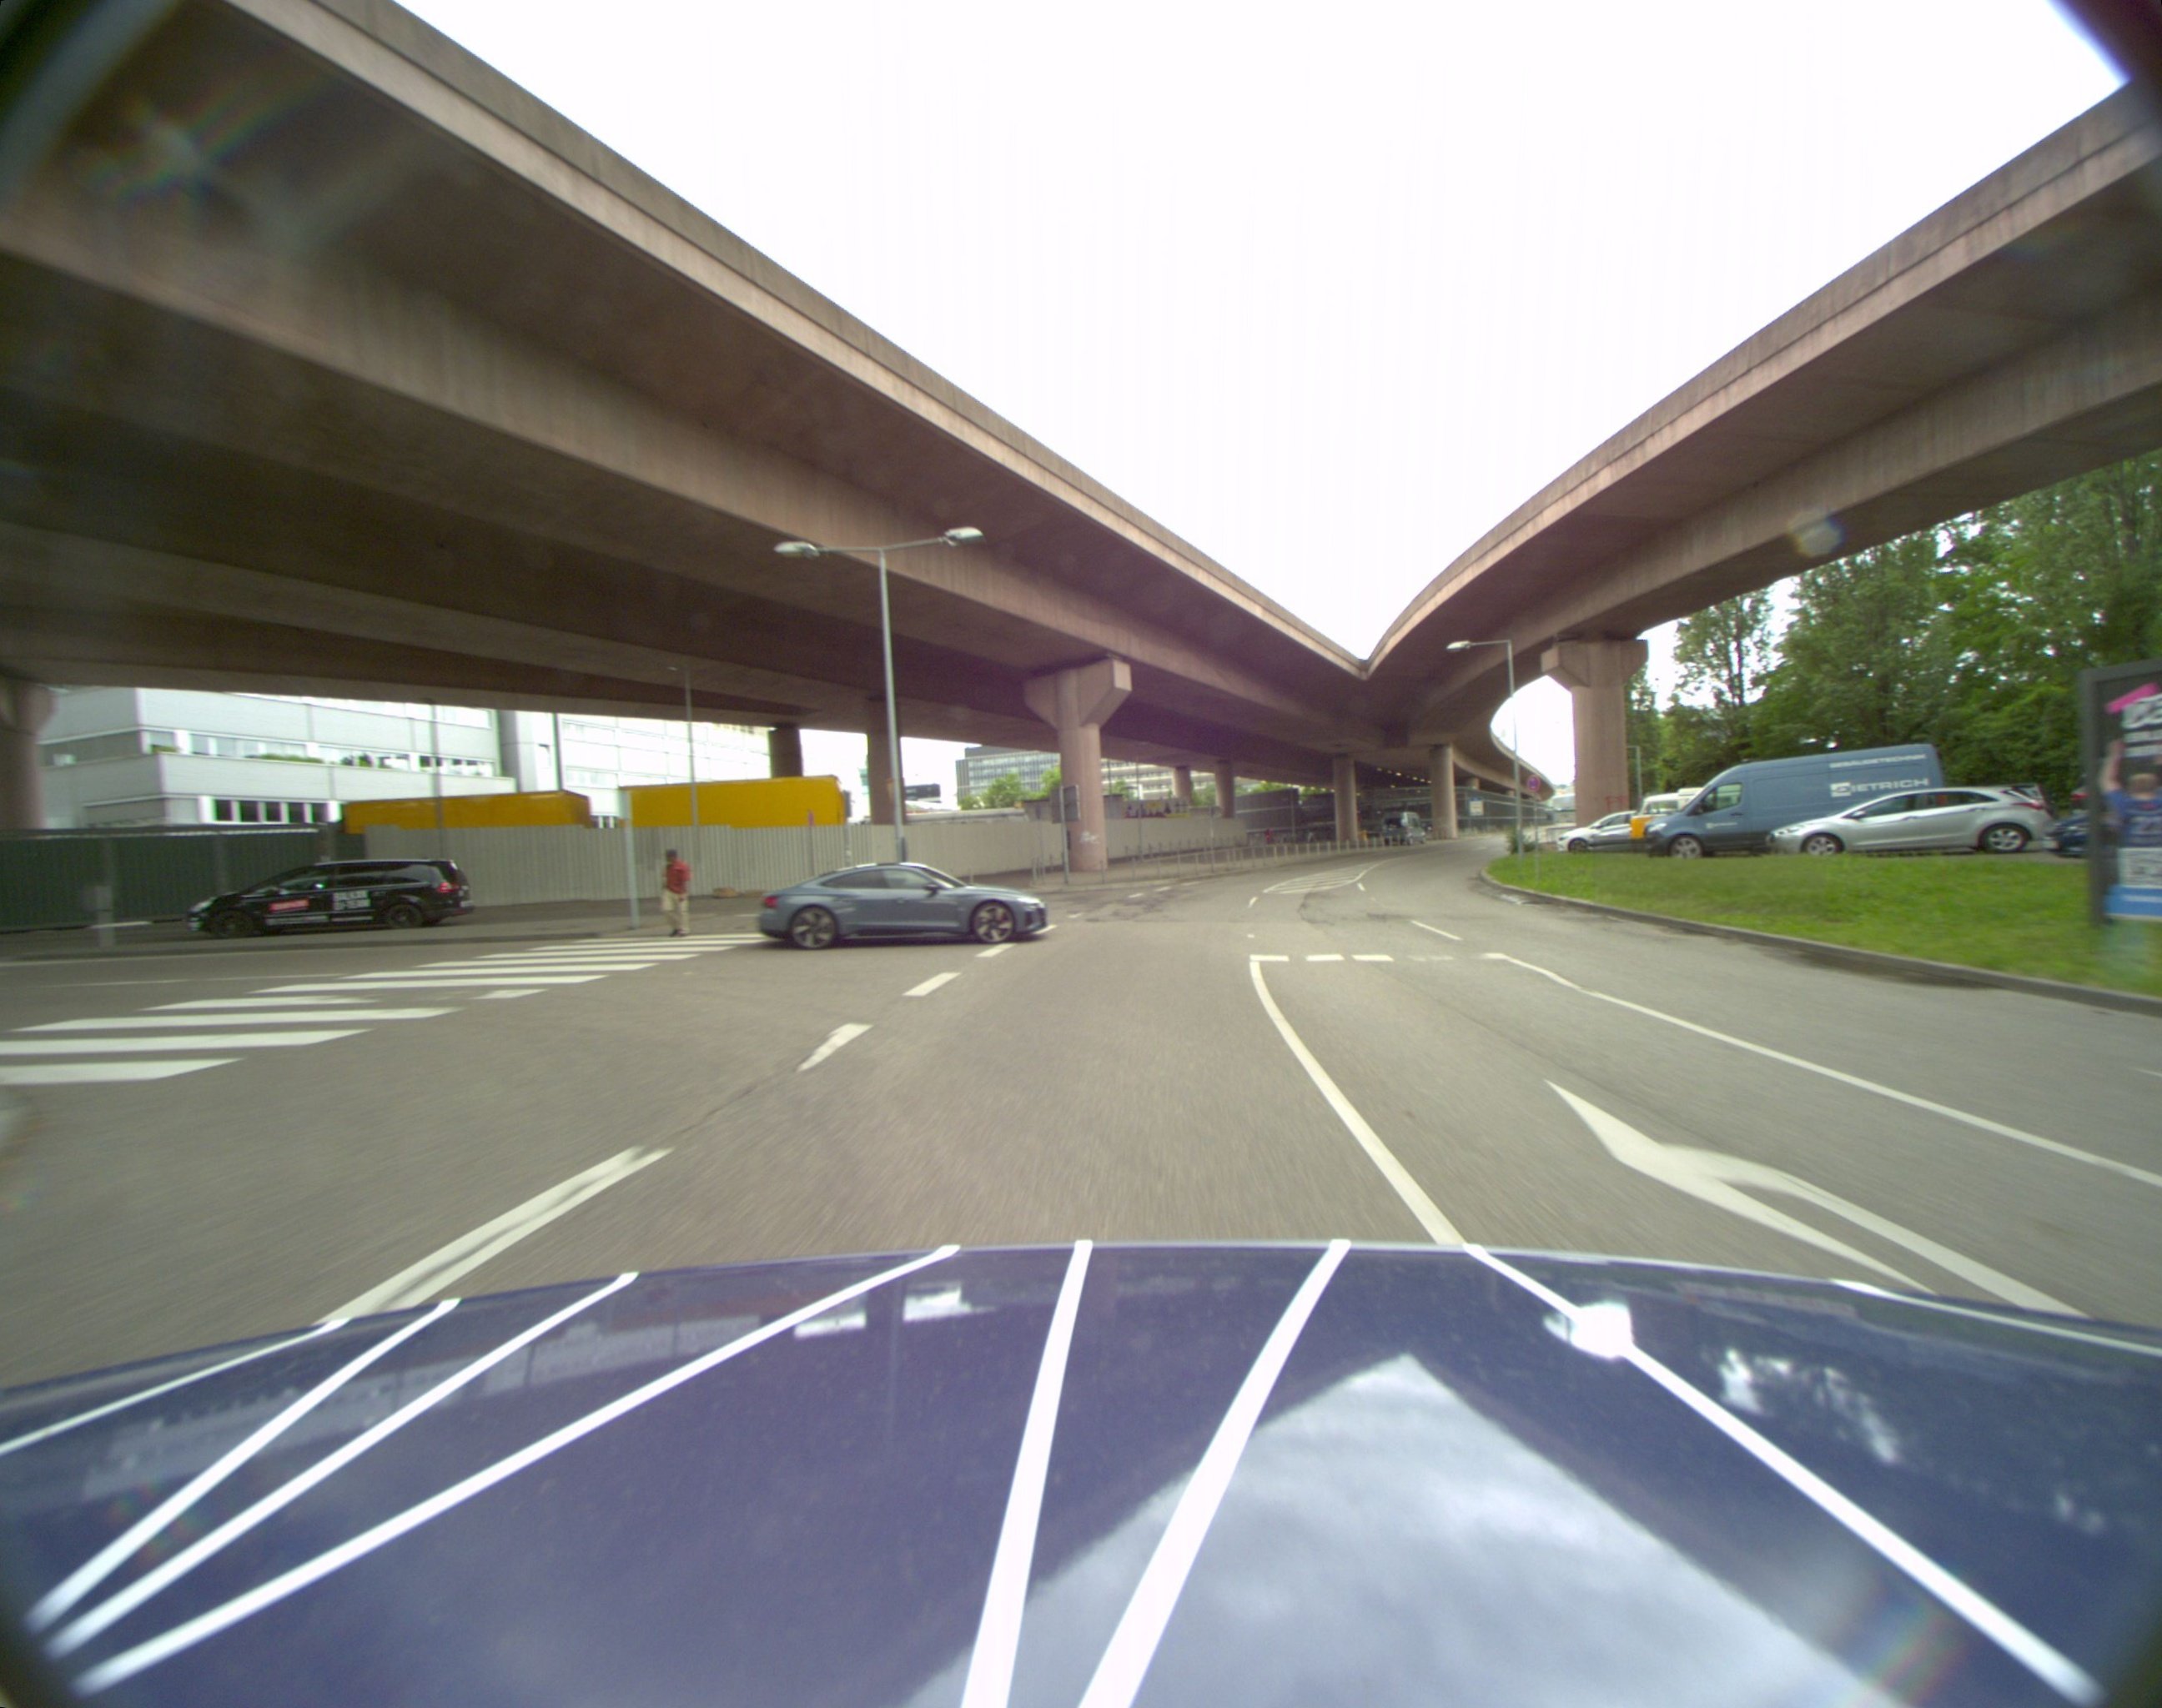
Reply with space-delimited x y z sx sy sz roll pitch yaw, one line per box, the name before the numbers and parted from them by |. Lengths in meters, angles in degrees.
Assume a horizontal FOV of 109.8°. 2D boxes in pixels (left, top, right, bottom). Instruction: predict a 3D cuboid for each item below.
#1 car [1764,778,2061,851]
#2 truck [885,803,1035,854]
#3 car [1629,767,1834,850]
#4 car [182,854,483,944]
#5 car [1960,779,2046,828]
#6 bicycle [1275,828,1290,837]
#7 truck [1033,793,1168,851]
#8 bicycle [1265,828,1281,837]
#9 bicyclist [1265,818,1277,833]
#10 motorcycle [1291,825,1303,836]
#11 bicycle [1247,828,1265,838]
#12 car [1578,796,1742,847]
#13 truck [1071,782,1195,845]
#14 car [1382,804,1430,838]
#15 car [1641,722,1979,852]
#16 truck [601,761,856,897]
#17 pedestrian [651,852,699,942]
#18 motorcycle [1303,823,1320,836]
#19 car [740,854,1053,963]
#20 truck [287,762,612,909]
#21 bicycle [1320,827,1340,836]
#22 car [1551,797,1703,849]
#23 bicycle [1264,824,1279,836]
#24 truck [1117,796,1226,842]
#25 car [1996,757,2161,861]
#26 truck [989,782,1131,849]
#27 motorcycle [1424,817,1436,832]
car | 18.428 -0.833 17.215 4.280 1.407 2.003 -1 2 39
truck | -7.406 -1.639 46.584 8.720 2.929 3.142 -1 4 -12
car | 19.722 -1.305 23.211 4.559 2.099 1.854 -3 1 43
car | -17.273 0.956 17.925 4.566 1.670 1.995 -3 3 -26
car | 29.986 -1.621 24.693 3.741 1.433 1.644 -3 3 -38
bicycle | 25.168 -2.694 94.803 1.784 1.073 0.437 -2 1 24
truck | 1.506 -2.521 59.403 10.069 4.160 2.894 -2 3 -13
bicycle | 21.883 -2.442 86.738 1.730 0.976 0.437 -2 1 33
bicyclist | 17.490 -2.641 69.998 0.796 1.398 1.068 0 3 29
motorcycle | 23.055 -2.513 81.105 0.543 1.099 2.335 -1 -2 35
bicycle | 20.248 -2.436 88.088 2.057 1.017 0.396 -2 1 40
car | 20.104 -1.101 26.496 2.004 1.363 4.247 -4 0 -45
truck | 4.344 -3.419 63.815 9.730 4.897 3.143 -2 2 -15
car | 26.418 -2.671 61.668 1.994 2.599 6.085 0 3 39
car | 18.999 -1.589 20.339 6.179 2.709 2.372 -3 1 42
truck | -13.974 -1.084 31.093 8.720 4.890 3.144 -3 2 -13
pedestrian | -7.771 0.806 14.558 0.536 1.667 0.559 0 2 23
motorcycle | 24.352 -2.574 80.181 0.782 1.228 2.541 0 1 38
car | -3.076 0.872 13.485 4.931 1.493 2.171 -2 2 -7
truck | -23.454 -0.764 28.889 8.720 4.876 3.144 -3 2 -13
bicycle | 27.304 -2.502 83.430 2.014 0.921 0.420 -2 1 26
car | 20.942 -1.153 29.271 1.958 1.596 4.384 -4 0 -42
bicycle | 17.546 -2.212 70.100 0.802 1.091 2.134 0 3 29
truck | 9.022 -3.513 75.910 10.301 4.280 3.008 -2 3 -13
car | 17.354 -0.719 10.987 4.840 1.480 2.080 -1 2 32
truck | -1.567 -2.820 55.240 9.730 4.419 3.143 -2 3 -15
motorcycle | 34.632 -2.924 75.319 0.797 1.359 2.132 -1 2 17
